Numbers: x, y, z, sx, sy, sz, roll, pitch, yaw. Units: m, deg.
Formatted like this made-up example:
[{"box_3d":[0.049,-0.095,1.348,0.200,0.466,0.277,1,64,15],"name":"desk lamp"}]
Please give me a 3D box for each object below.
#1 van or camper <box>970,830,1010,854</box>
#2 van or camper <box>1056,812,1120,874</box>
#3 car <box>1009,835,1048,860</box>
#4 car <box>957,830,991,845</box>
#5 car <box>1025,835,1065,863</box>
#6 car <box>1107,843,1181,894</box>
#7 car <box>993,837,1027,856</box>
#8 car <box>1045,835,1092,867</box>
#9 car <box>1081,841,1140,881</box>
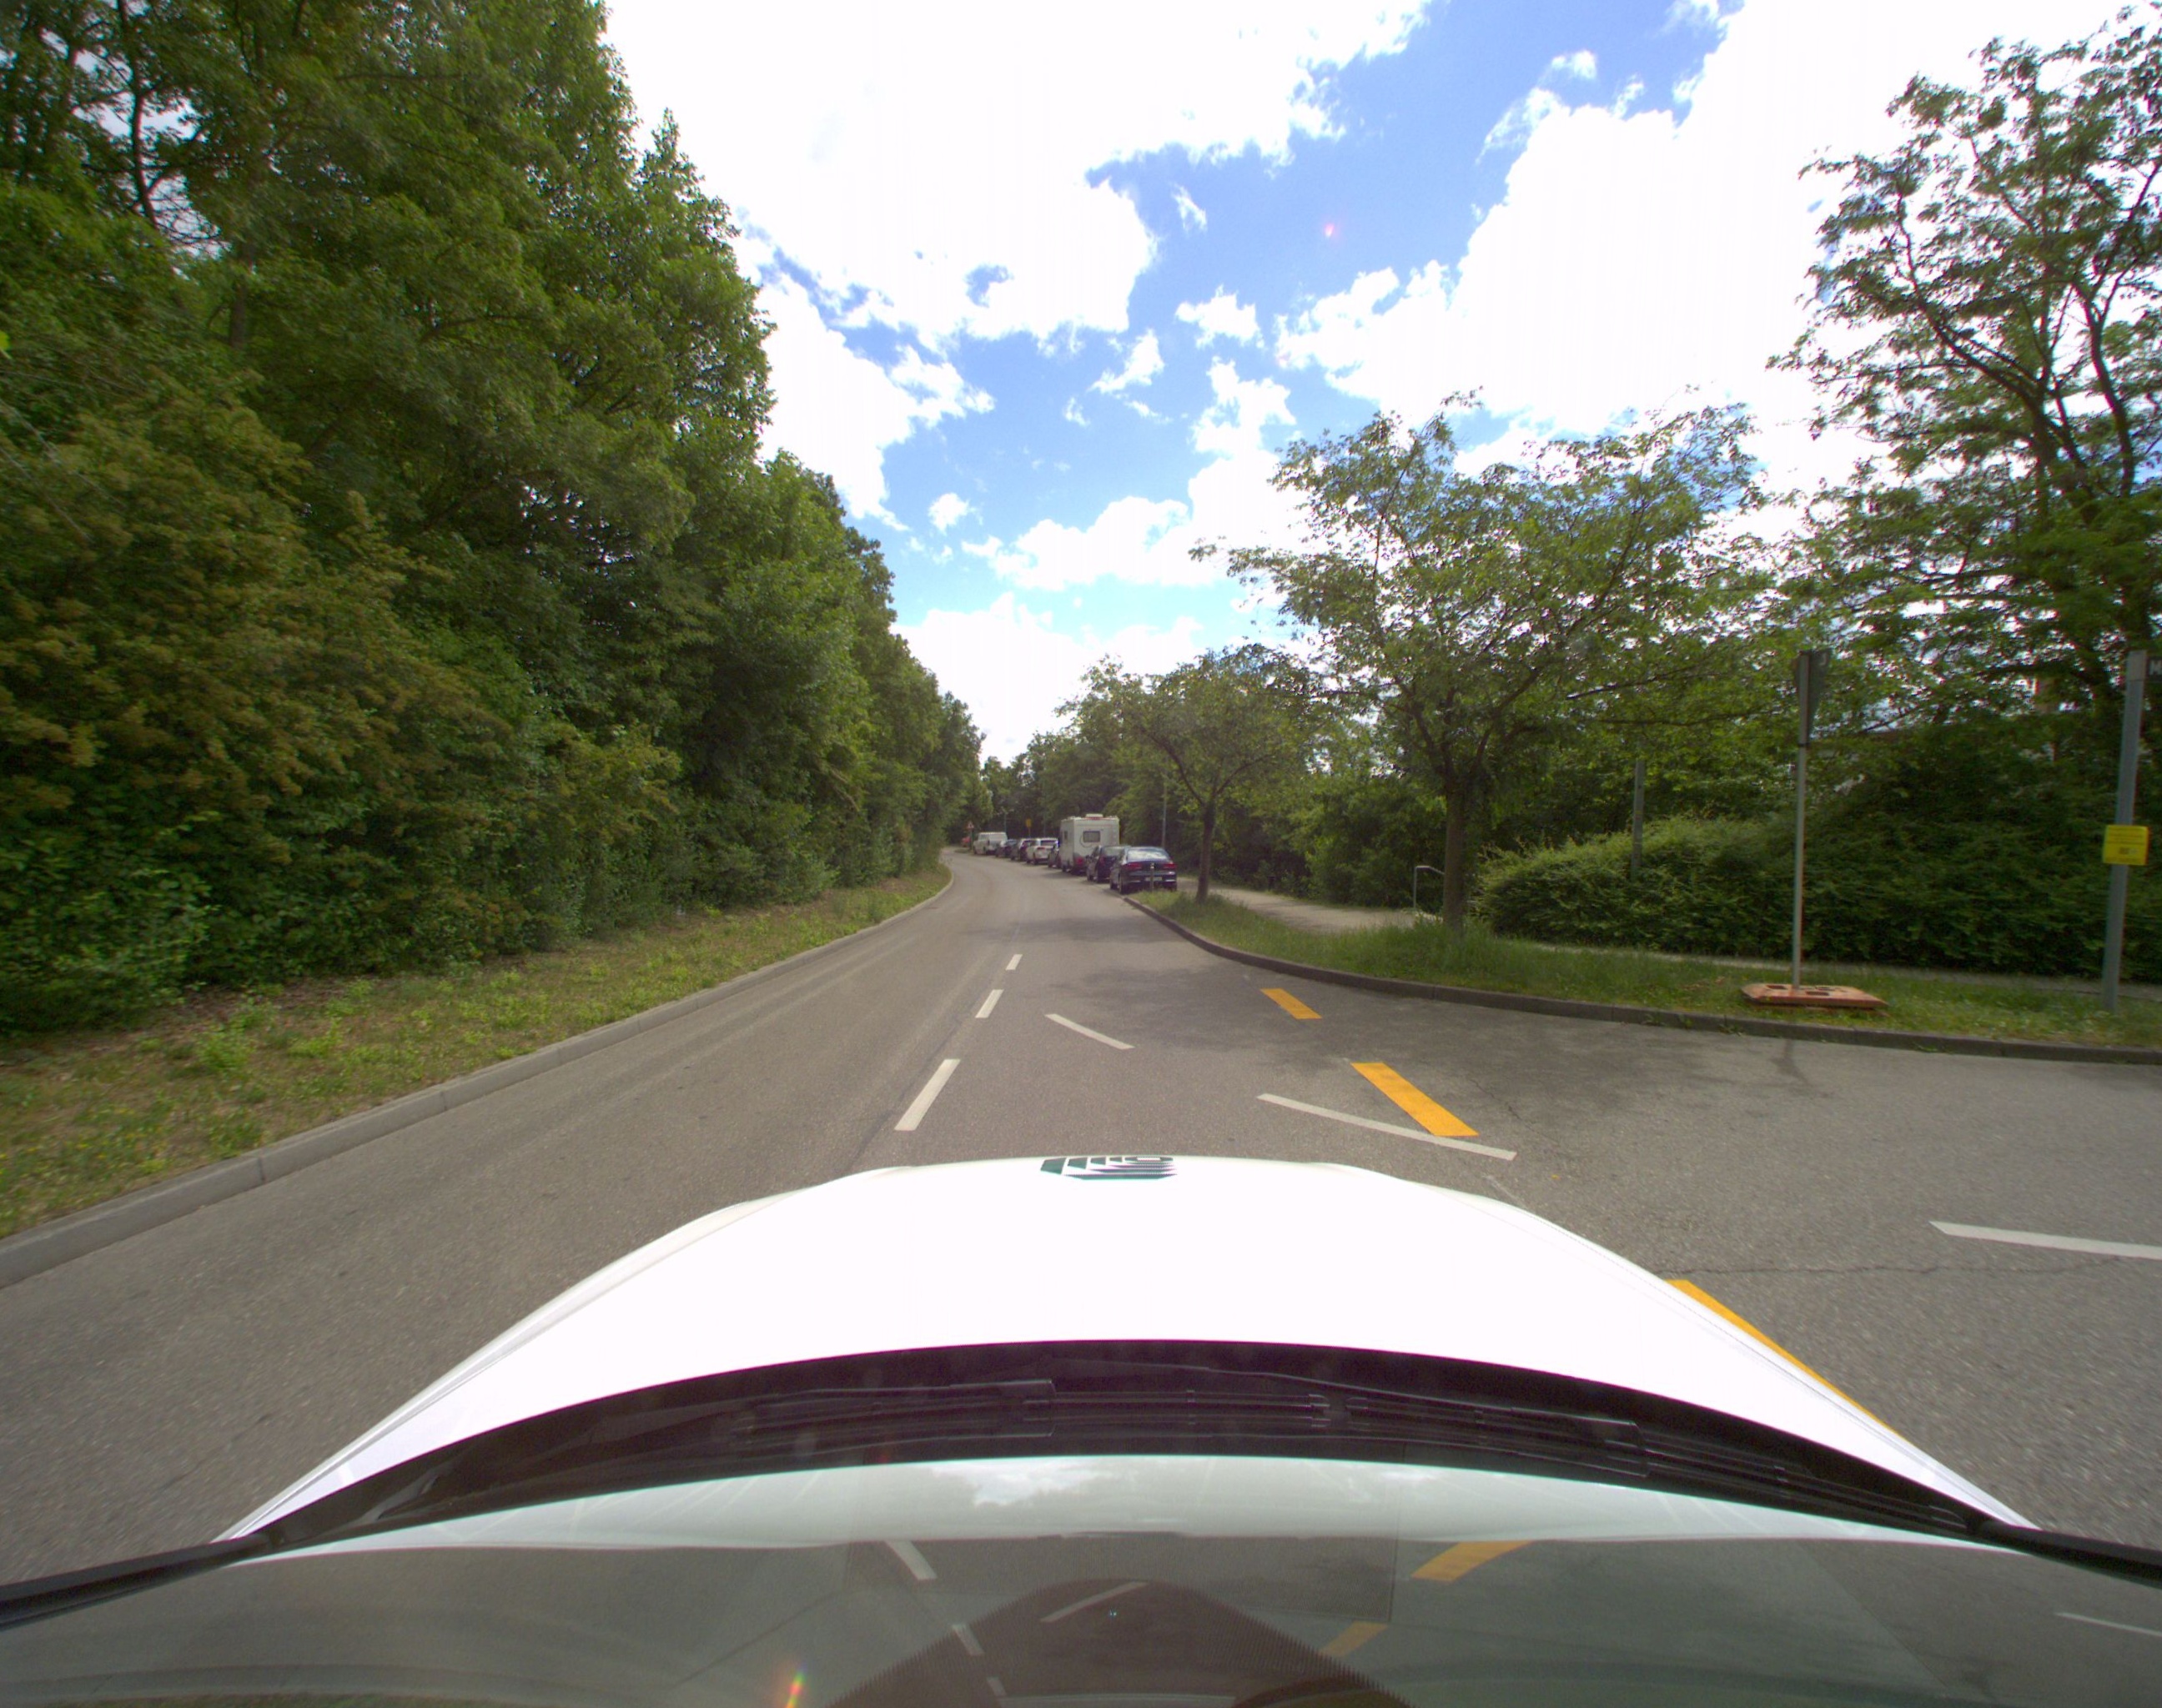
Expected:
[{"box_3d":[-8.075,-1.079,71.906,2.002,1.919,5.226,-2,3,-23],"name":"van or camper"},{"box_3d":[0.259,-0.578,41.272,2.331,2.869,6.133,0,1,-8],"name":"van or camper"},{"box_3d":[-3.905,-0.533,59.921,1.998,1.626,4.256,-3,3,-15],"name":"car"},{"box_3d":[-12.042,-1.856,91.453,3.549,1.480,1.770,-1,4,-21],"name":"car"},{"box_3d":[-2.448,-0.364,54.190,1.874,1.689,4.559,0,2,-13],"name":"car"},{"box_3d":[1.974,0.403,26.661,1.772,1.434,4.327,-1,1,-4],"name":"car"},{"box_3d":[-5.855,-0.627,66.490,1.804,1.464,3.974,-1,2,-20],"name":"car"},{"box_3d":[-0.767,-0.201,47.339,1.713,1.591,3.982,-8,3,-13],"name":"car"},{"box_3d":[1.160,0.257,33.764,1.728,1.519,3.878,-2,0,-8],"name":"car"}]
